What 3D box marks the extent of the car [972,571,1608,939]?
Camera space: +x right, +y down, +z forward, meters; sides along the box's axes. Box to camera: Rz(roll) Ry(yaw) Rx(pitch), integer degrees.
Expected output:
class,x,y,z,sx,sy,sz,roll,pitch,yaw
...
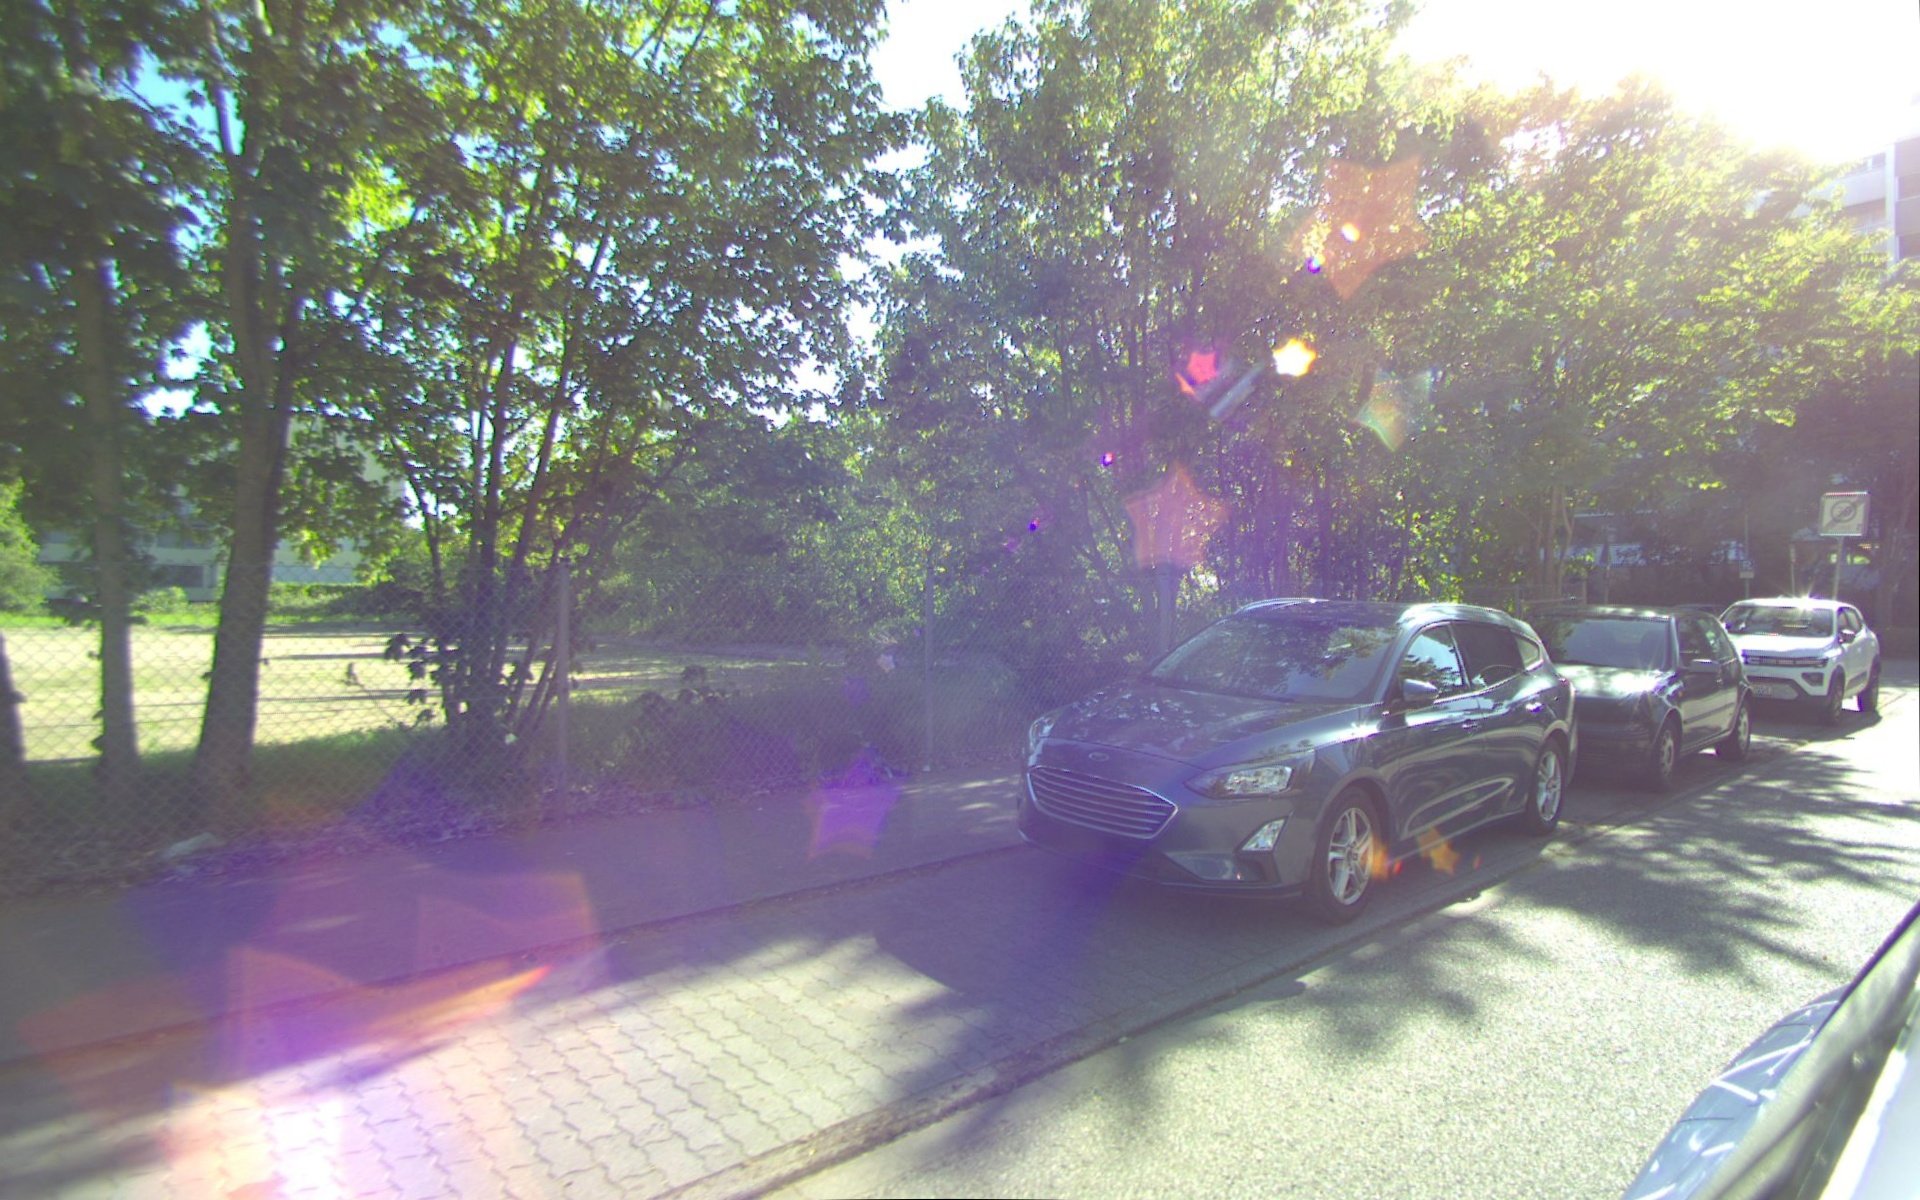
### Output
class,x,y,z,sx,sy,sz,roll,pitch,yaw
car,2.240,0.604,6.093,4.363,1.456,1.678,0,0,-42

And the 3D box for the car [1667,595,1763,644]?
class,x,y,z,sx,sy,sz,roll,pitch,yaw
car,25.094,0.607,33.597,3.929,1.469,1.715,-1,1,-40

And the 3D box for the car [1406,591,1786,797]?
class,x,y,z,sx,sy,sz,roll,pitch,yaw
car,5.968,0.669,9.329,3.996,1.490,1.828,0,0,-40

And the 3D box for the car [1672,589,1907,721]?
class,x,y,z,sx,sy,sz,roll,pitch,yaw
car,11.172,0.621,13.539,4.017,1.469,1.623,-1,0,-39
